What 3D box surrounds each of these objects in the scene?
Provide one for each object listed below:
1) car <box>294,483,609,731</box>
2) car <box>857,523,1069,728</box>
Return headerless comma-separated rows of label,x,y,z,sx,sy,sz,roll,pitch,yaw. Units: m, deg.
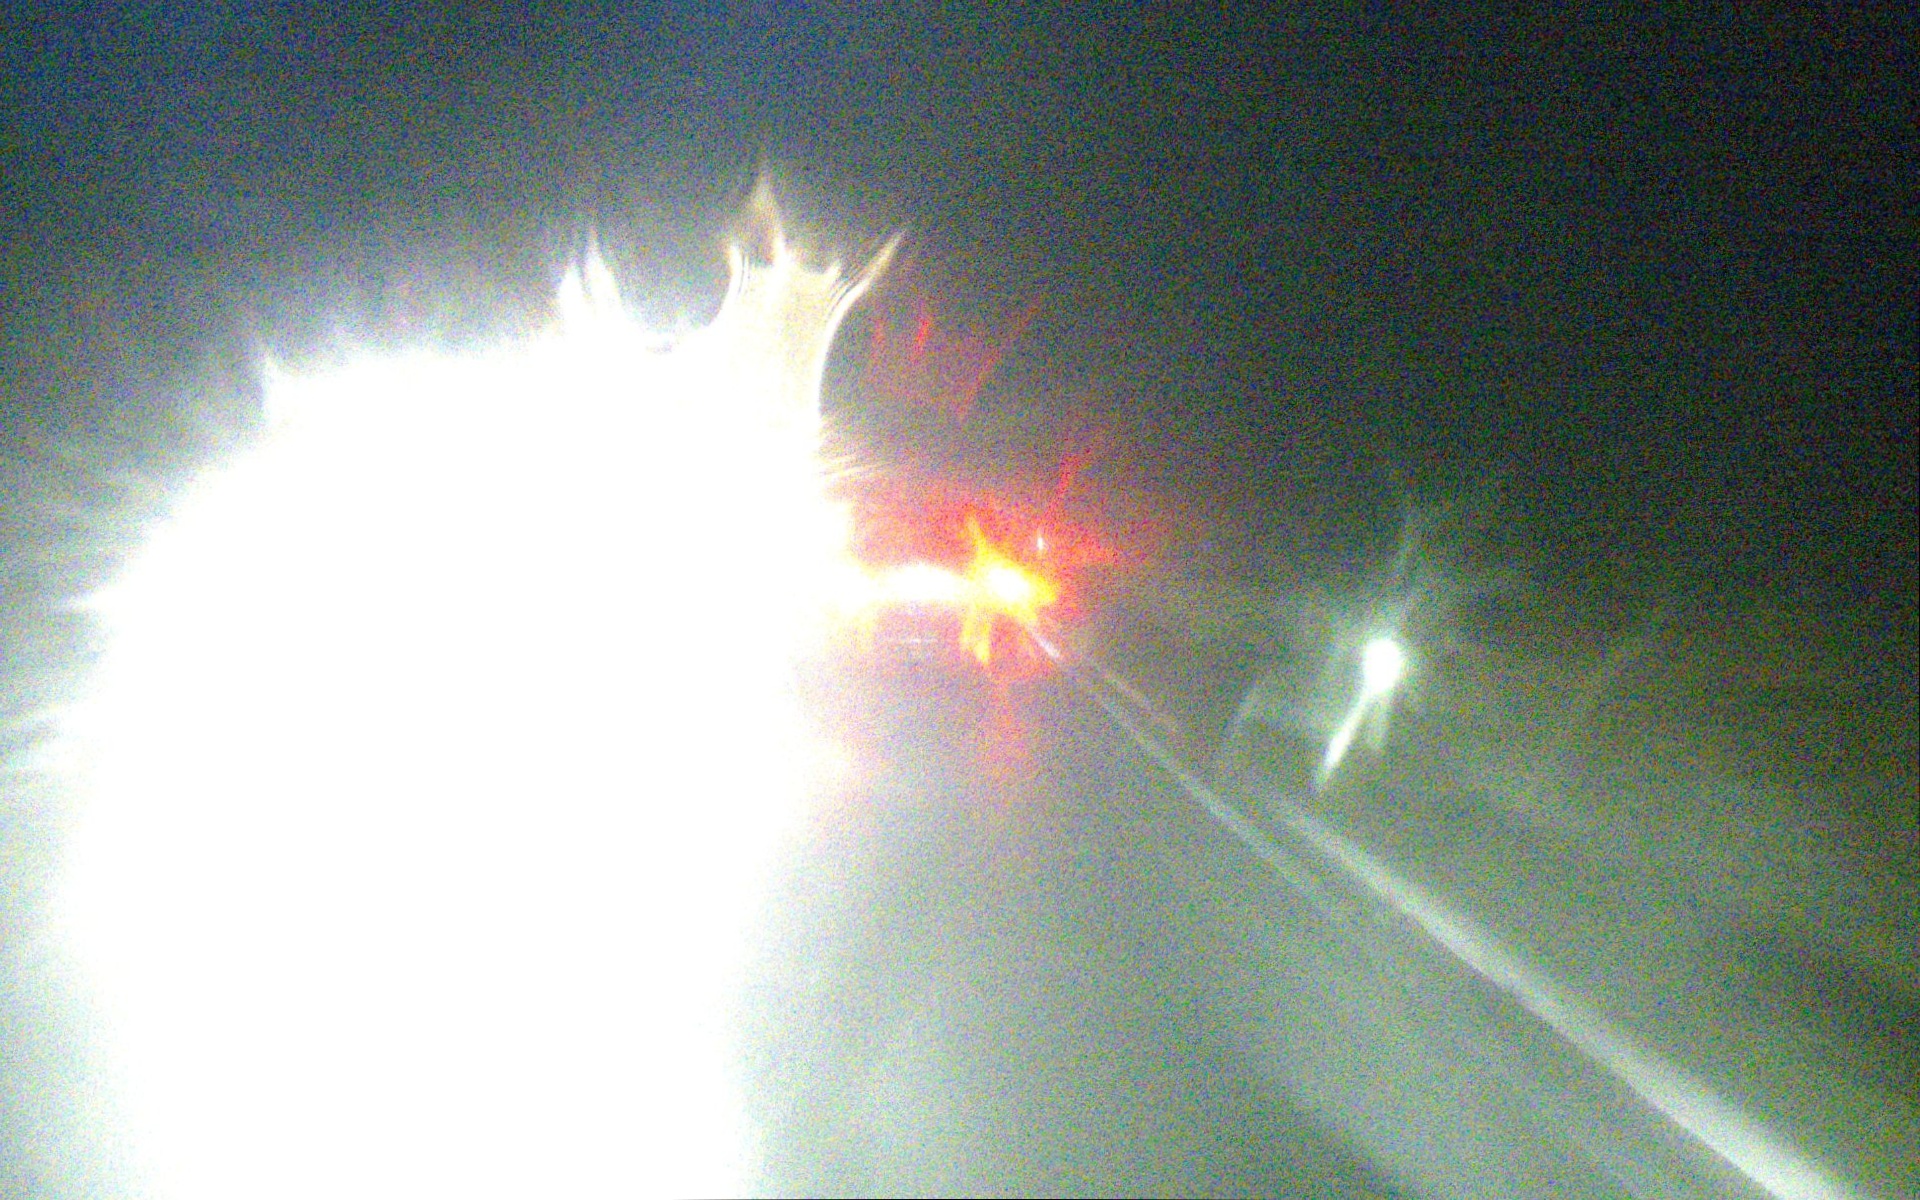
car,-3.881,0.006,26.874,1.993,1.775,4.001,0,1,-2
car,0.017,0.200,34.376,1.993,1.800,3.918,0,3,0
